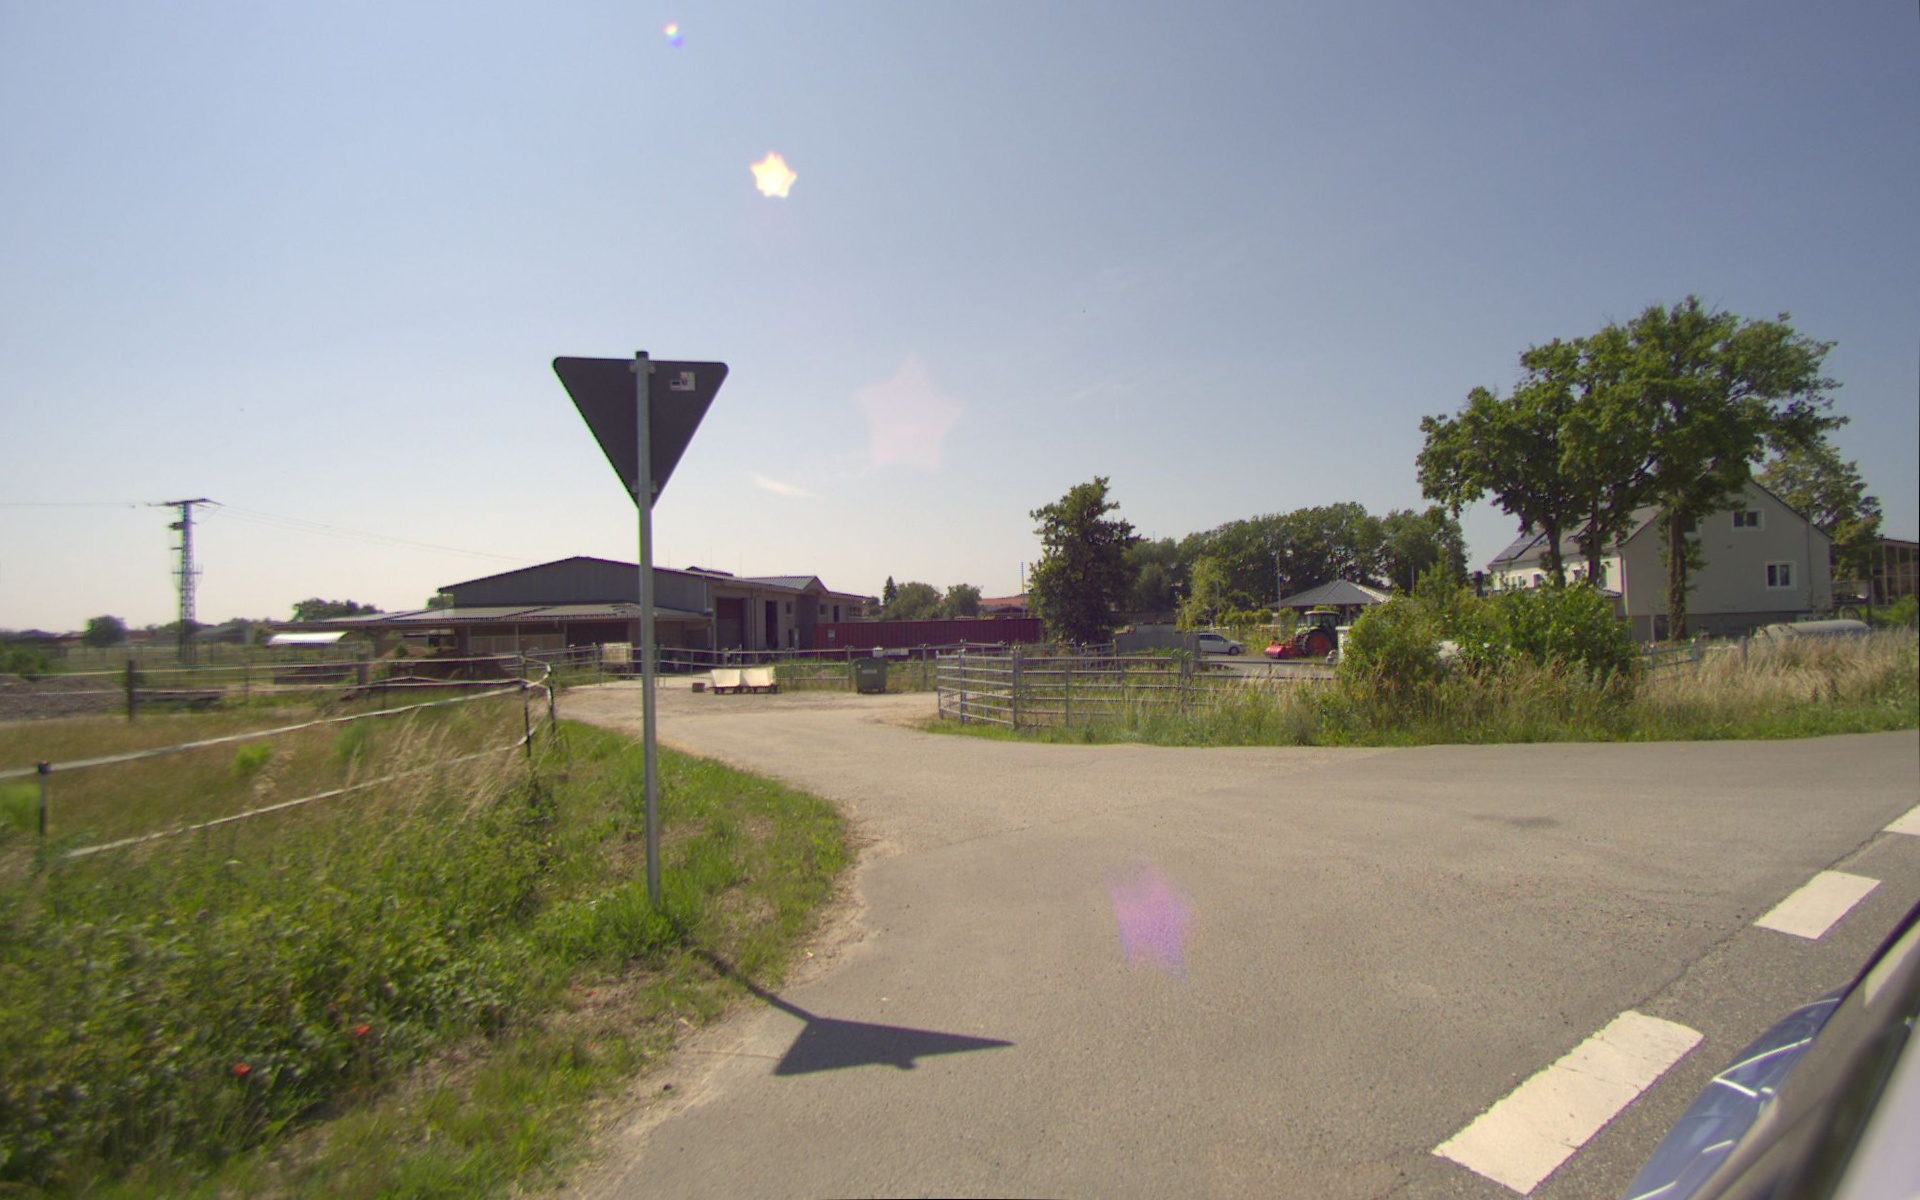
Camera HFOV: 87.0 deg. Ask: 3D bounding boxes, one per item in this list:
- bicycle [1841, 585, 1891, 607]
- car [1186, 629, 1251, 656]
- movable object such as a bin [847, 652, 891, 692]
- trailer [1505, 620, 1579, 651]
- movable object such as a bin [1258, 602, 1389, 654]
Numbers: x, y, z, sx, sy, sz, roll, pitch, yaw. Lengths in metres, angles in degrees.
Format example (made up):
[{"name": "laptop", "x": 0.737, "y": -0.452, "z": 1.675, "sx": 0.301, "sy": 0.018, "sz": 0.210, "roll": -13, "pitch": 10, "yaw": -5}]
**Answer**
[{"name": "bicycle", "x": 50.720, "y": -0.217, "z": 56.688, "sx": 1.938, "sy": 1.207, "sz": 0.712, "roll": -2, "pitch": -1, "yaw": 10}, {"name": "car", "x": 16.846, "y": 2.746, "z": 66.042, "sx": 3.809, "sy": 1.595, "sz": 1.996, "roll": 2, "pitch": -2, "yaw": 6}, {"name": "movable object such as a bin", "x": -3.371, "y": 2.663, "z": 37.761, "sx": 1.488, "sy": 1.367, "sz": 1.373, "roll": -2, "pitch": -2, "yaw": 0}, {"name": "trailer", "x": 32.381, "y": 1.973, "z": 56.389, "sx": 3.097, "sy": 1.516, "sz": 1.707, "roll": -4, "pitch": -2, "yaw": 16}, {"name": "movable object such as a bin", "x": 21.023, "y": 1.642, "z": 58.767, "sx": 6.376, "sy": 2.806, "sz": 3.013, "roll": -1, "pitch": -3, "yaw": -4}]
